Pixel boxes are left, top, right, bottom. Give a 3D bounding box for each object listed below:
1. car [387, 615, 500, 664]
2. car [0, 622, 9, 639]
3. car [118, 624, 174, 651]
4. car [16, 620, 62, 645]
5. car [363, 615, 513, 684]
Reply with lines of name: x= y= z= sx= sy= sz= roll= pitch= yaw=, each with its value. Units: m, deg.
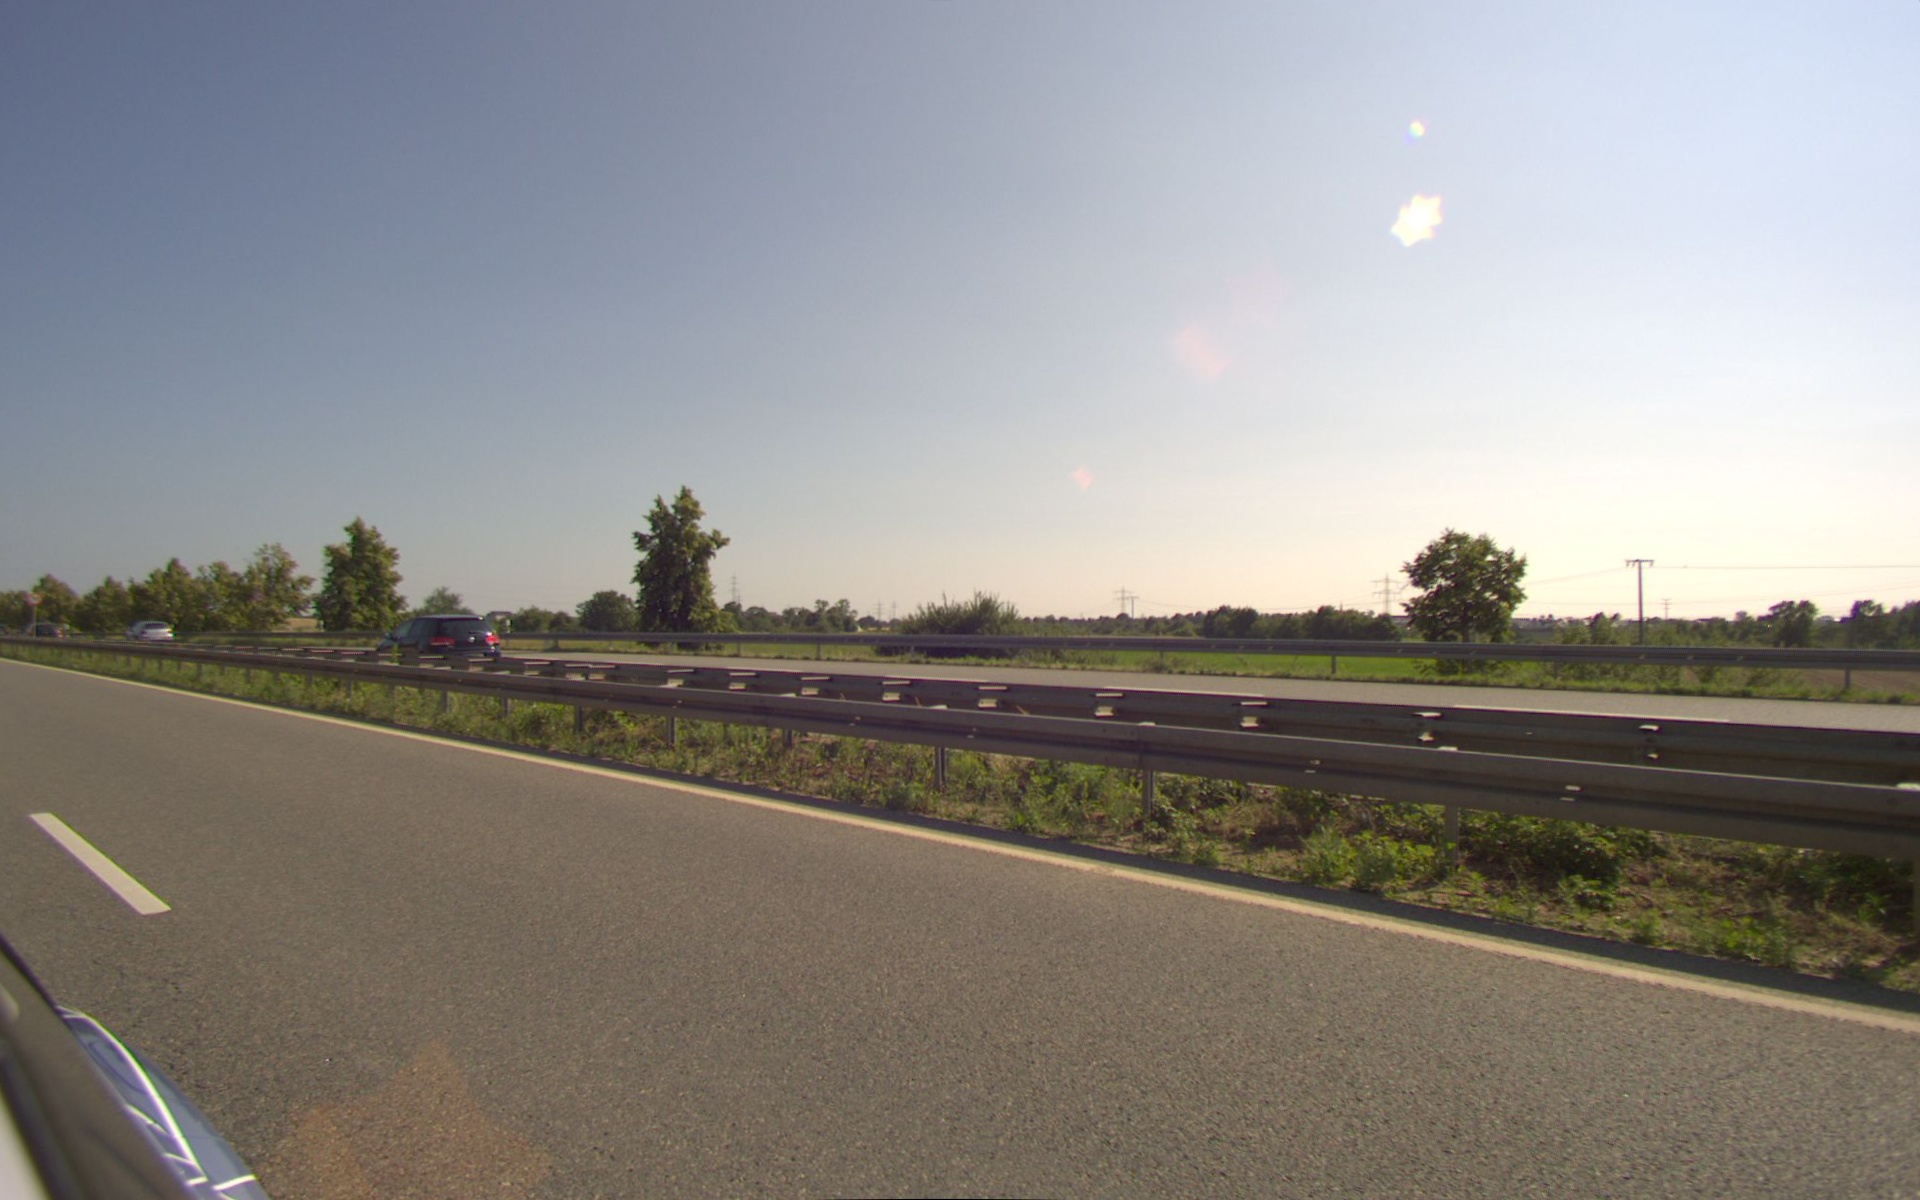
car: x=-16.655 y=1.252 z=32.539 sx=4.319 sy=1.461 sz=1.696 roll=-1 pitch=-1 yaw=40
car: x=-96.403 y=3.068 z=101.005 sx=4.219 sy=1.607 sz=1.708 roll=-1 pitch=0 yaw=41
car: x=-48.339 y=2.194 z=60.060 sx=4.413 sy=1.406 sz=1.803 roll=-1 pitch=1 yaw=41
car: x=-58.940 y=2.042 z=64.737 sx=4.413 sy=1.481 sz=1.695 roll=-1 pitch=1 yaw=41
car: x=-12.857 y=1.179 z=24.819 sx=4.321 sy=1.484 sz=1.796 roll=-2 pitch=0 yaw=41
